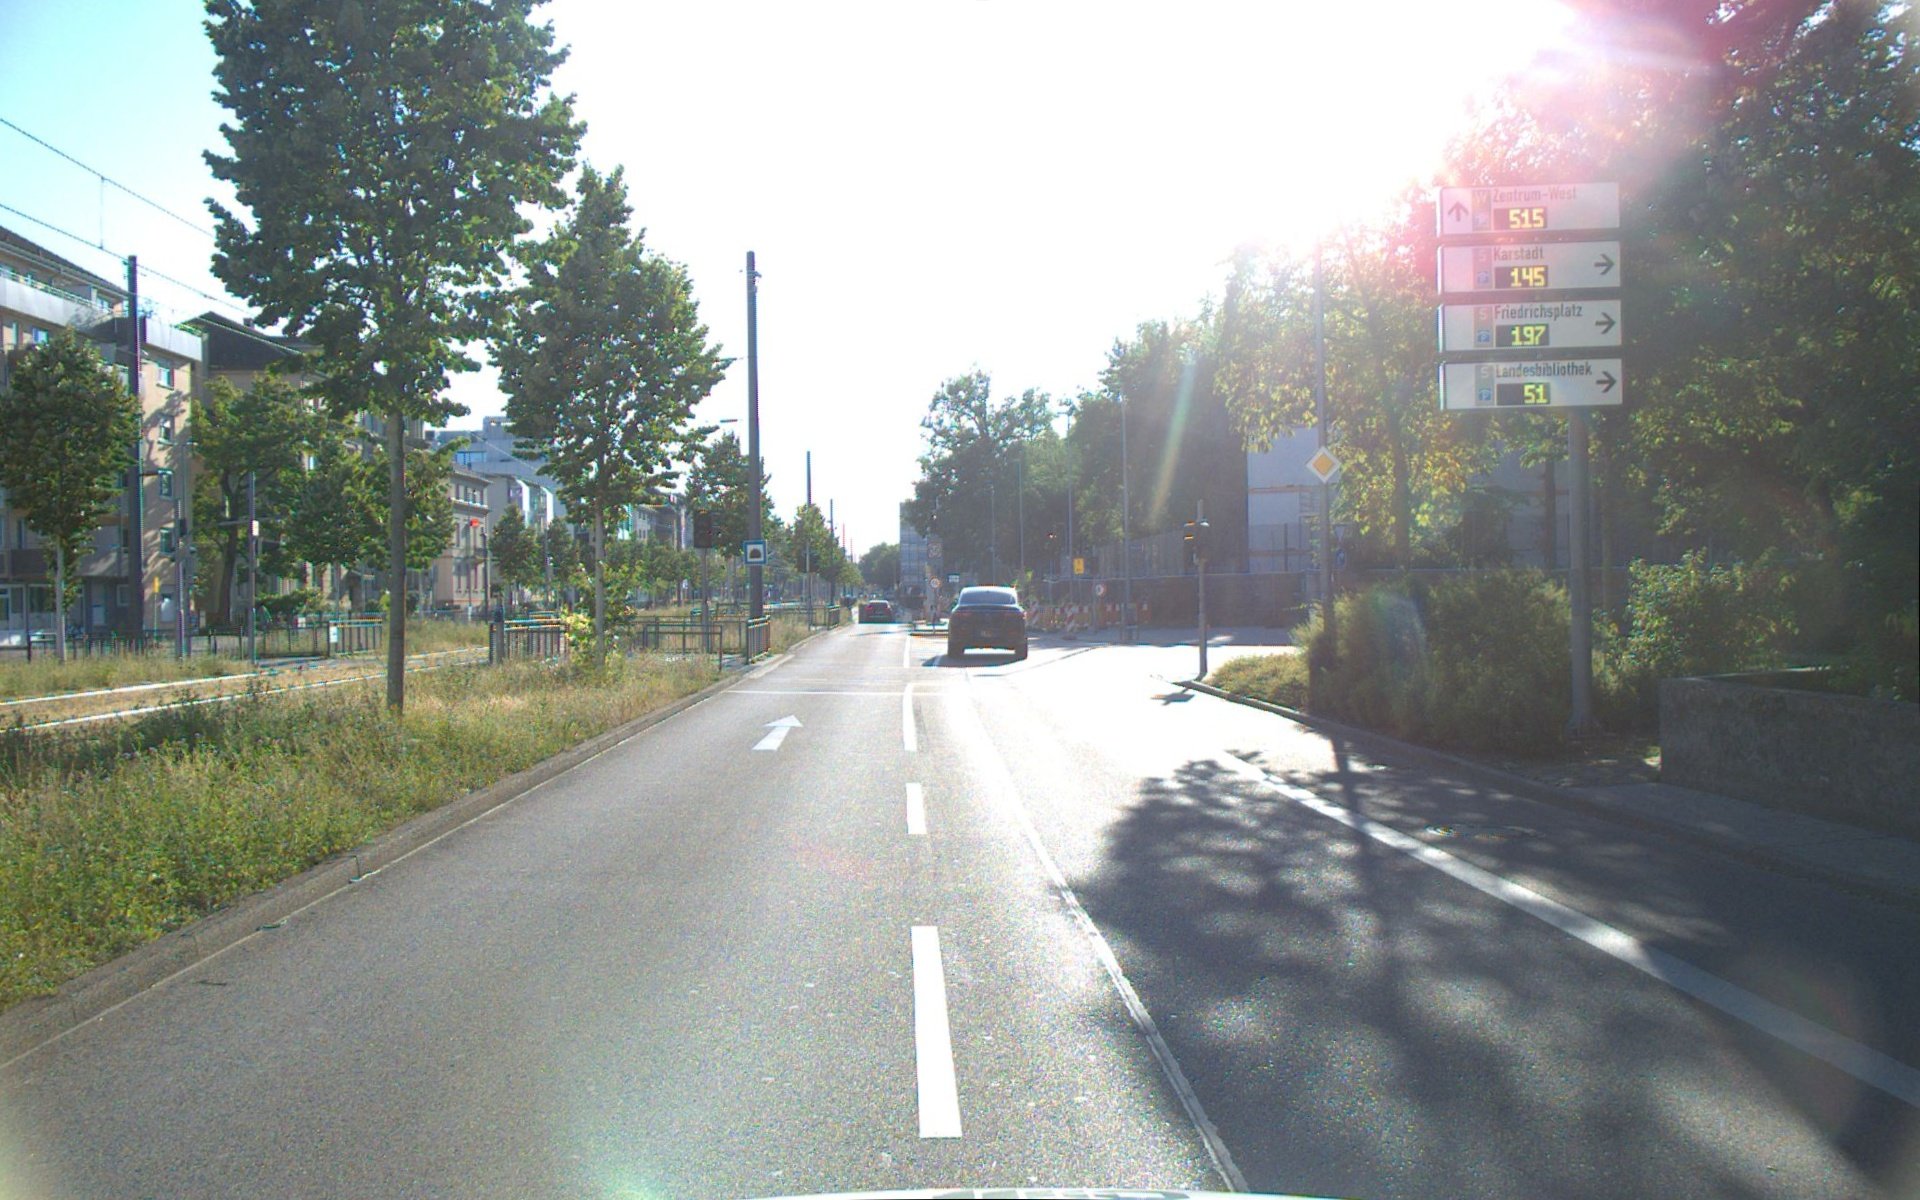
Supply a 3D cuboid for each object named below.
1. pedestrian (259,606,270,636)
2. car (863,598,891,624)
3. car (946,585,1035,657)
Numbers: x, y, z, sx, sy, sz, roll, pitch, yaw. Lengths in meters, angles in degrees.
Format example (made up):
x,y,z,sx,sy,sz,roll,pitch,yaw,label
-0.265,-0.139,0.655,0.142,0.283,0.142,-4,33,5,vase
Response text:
x,y,z,sx,sy,sz,roll,pitch,yaw,label
-37.127,1.117,88.284,0.511,1.583,0.446,-1,0,-17,pedestrian
-5.520,0.749,109.871,1.790,1.688,3.998,1,0,-2,car
0.716,0.516,41.667,1.965,1.688,3.998,1,0,-2,car
